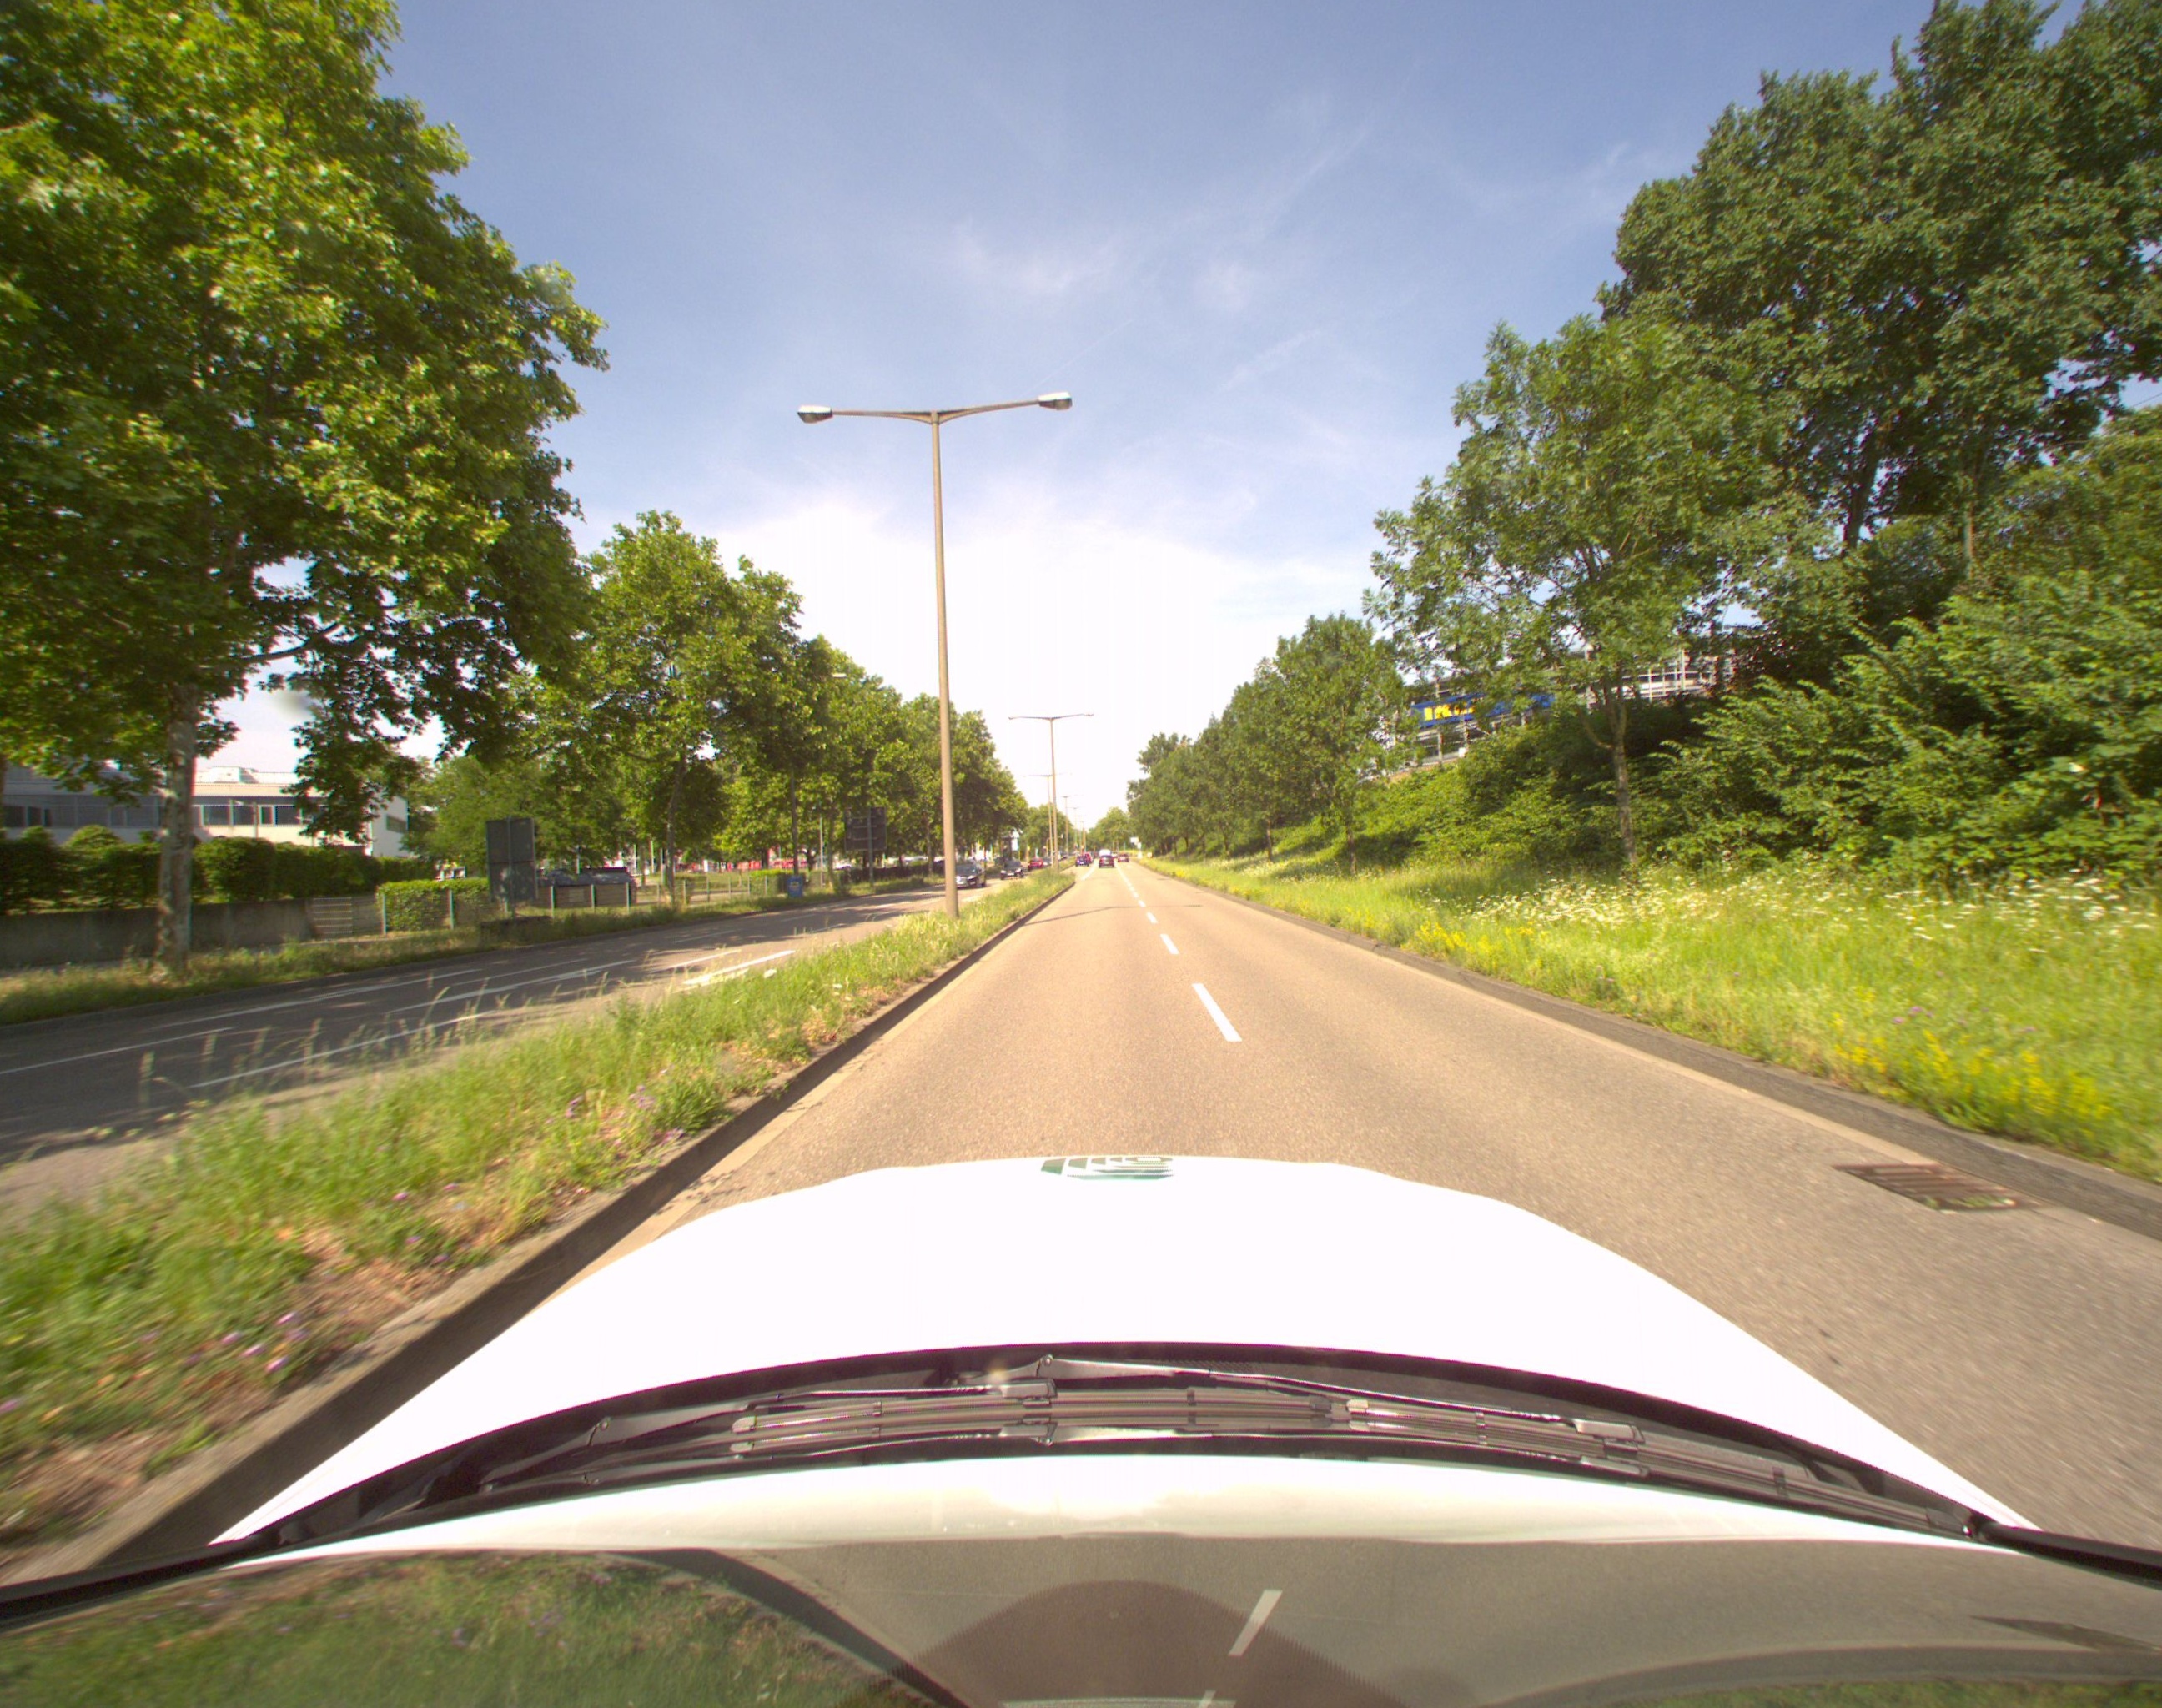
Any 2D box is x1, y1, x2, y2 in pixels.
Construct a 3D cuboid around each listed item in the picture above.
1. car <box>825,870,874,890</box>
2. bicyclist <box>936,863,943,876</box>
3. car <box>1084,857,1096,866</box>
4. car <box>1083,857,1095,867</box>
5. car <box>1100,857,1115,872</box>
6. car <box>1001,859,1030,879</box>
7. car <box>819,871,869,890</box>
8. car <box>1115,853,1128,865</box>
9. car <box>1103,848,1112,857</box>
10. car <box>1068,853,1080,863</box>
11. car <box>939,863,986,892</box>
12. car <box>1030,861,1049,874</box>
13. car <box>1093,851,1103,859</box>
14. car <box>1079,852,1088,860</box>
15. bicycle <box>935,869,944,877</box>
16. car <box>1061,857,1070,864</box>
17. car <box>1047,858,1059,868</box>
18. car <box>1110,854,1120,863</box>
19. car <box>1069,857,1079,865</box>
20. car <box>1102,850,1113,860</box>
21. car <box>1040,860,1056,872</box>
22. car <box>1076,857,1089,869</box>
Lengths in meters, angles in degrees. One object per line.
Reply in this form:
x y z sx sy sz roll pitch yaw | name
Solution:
-22.325 2.489 78.574 3.967 1.823 2.159 -2 -1 5 | car
-17.393 1.896 100.234 0.679 1.485 0.942 -3 -1 2 | bicyclist
1.608 1.320 144.079 1.874 1.618 4.213 -2 0 1 | car
1.287 1.310 130.920 1.760 1.479 4.136 -1 0 1 | car
3.161 1.181 97.071 1.730 1.535 4.003 -2 2 2 | car
-5.186 1.152 64.895 1.766 1.467 4.671 -3 -1 1 | car
-21.883 2.462 75.355 3.971 1.464 1.773 -3 0 2 | car
6.571 0.759 132.633 2.010 1.837 4.002 -2 0 2 | car
6.457 -0.393 199.207 1.988 2.013 3.997 -2 0 -2 | car
-1.364 0.753 153.009 1.986 1.708 4.265 -2 0 2 | car
-6.616 1.288 45.928 1.821 1.467 4.987 -3 -1 0 | car
-4.924 1.592 96.106 1.756 1.462 4.002 -3 0 2 | car
3.608 0.272 173.869 1.927 1.647 4.002 -2 0 2 | car
0.634 0.483 191.323 1.985 1.860 4.003 -2 0 3 | car
-17.383 2.344 100.110 0.687 0.866 1.927 -3 0 2 | bicycle
-3.682 1.655 195.902 1.986 1.530 4.684 -3 0 2 | car
-4.660 1.543 137.720 1.762 1.469 4.284 -3 -1 1 | car
7.271 0.970 172.326 1.986 1.708 4.265 -2 0 2 | car
-1.707 1.629 198.253 1.984 1.775 4.005 -3 -1 4 | car
4.813 0.108 148.200 1.986 1.708 4.265 -2 0 2 | car
-4.403 1.646 110.127 1.833 1.478 4.167 -3 -1 1 | car
0.251 1.094 105.246 1.620 1.483 4.049 0 0 1 | car
